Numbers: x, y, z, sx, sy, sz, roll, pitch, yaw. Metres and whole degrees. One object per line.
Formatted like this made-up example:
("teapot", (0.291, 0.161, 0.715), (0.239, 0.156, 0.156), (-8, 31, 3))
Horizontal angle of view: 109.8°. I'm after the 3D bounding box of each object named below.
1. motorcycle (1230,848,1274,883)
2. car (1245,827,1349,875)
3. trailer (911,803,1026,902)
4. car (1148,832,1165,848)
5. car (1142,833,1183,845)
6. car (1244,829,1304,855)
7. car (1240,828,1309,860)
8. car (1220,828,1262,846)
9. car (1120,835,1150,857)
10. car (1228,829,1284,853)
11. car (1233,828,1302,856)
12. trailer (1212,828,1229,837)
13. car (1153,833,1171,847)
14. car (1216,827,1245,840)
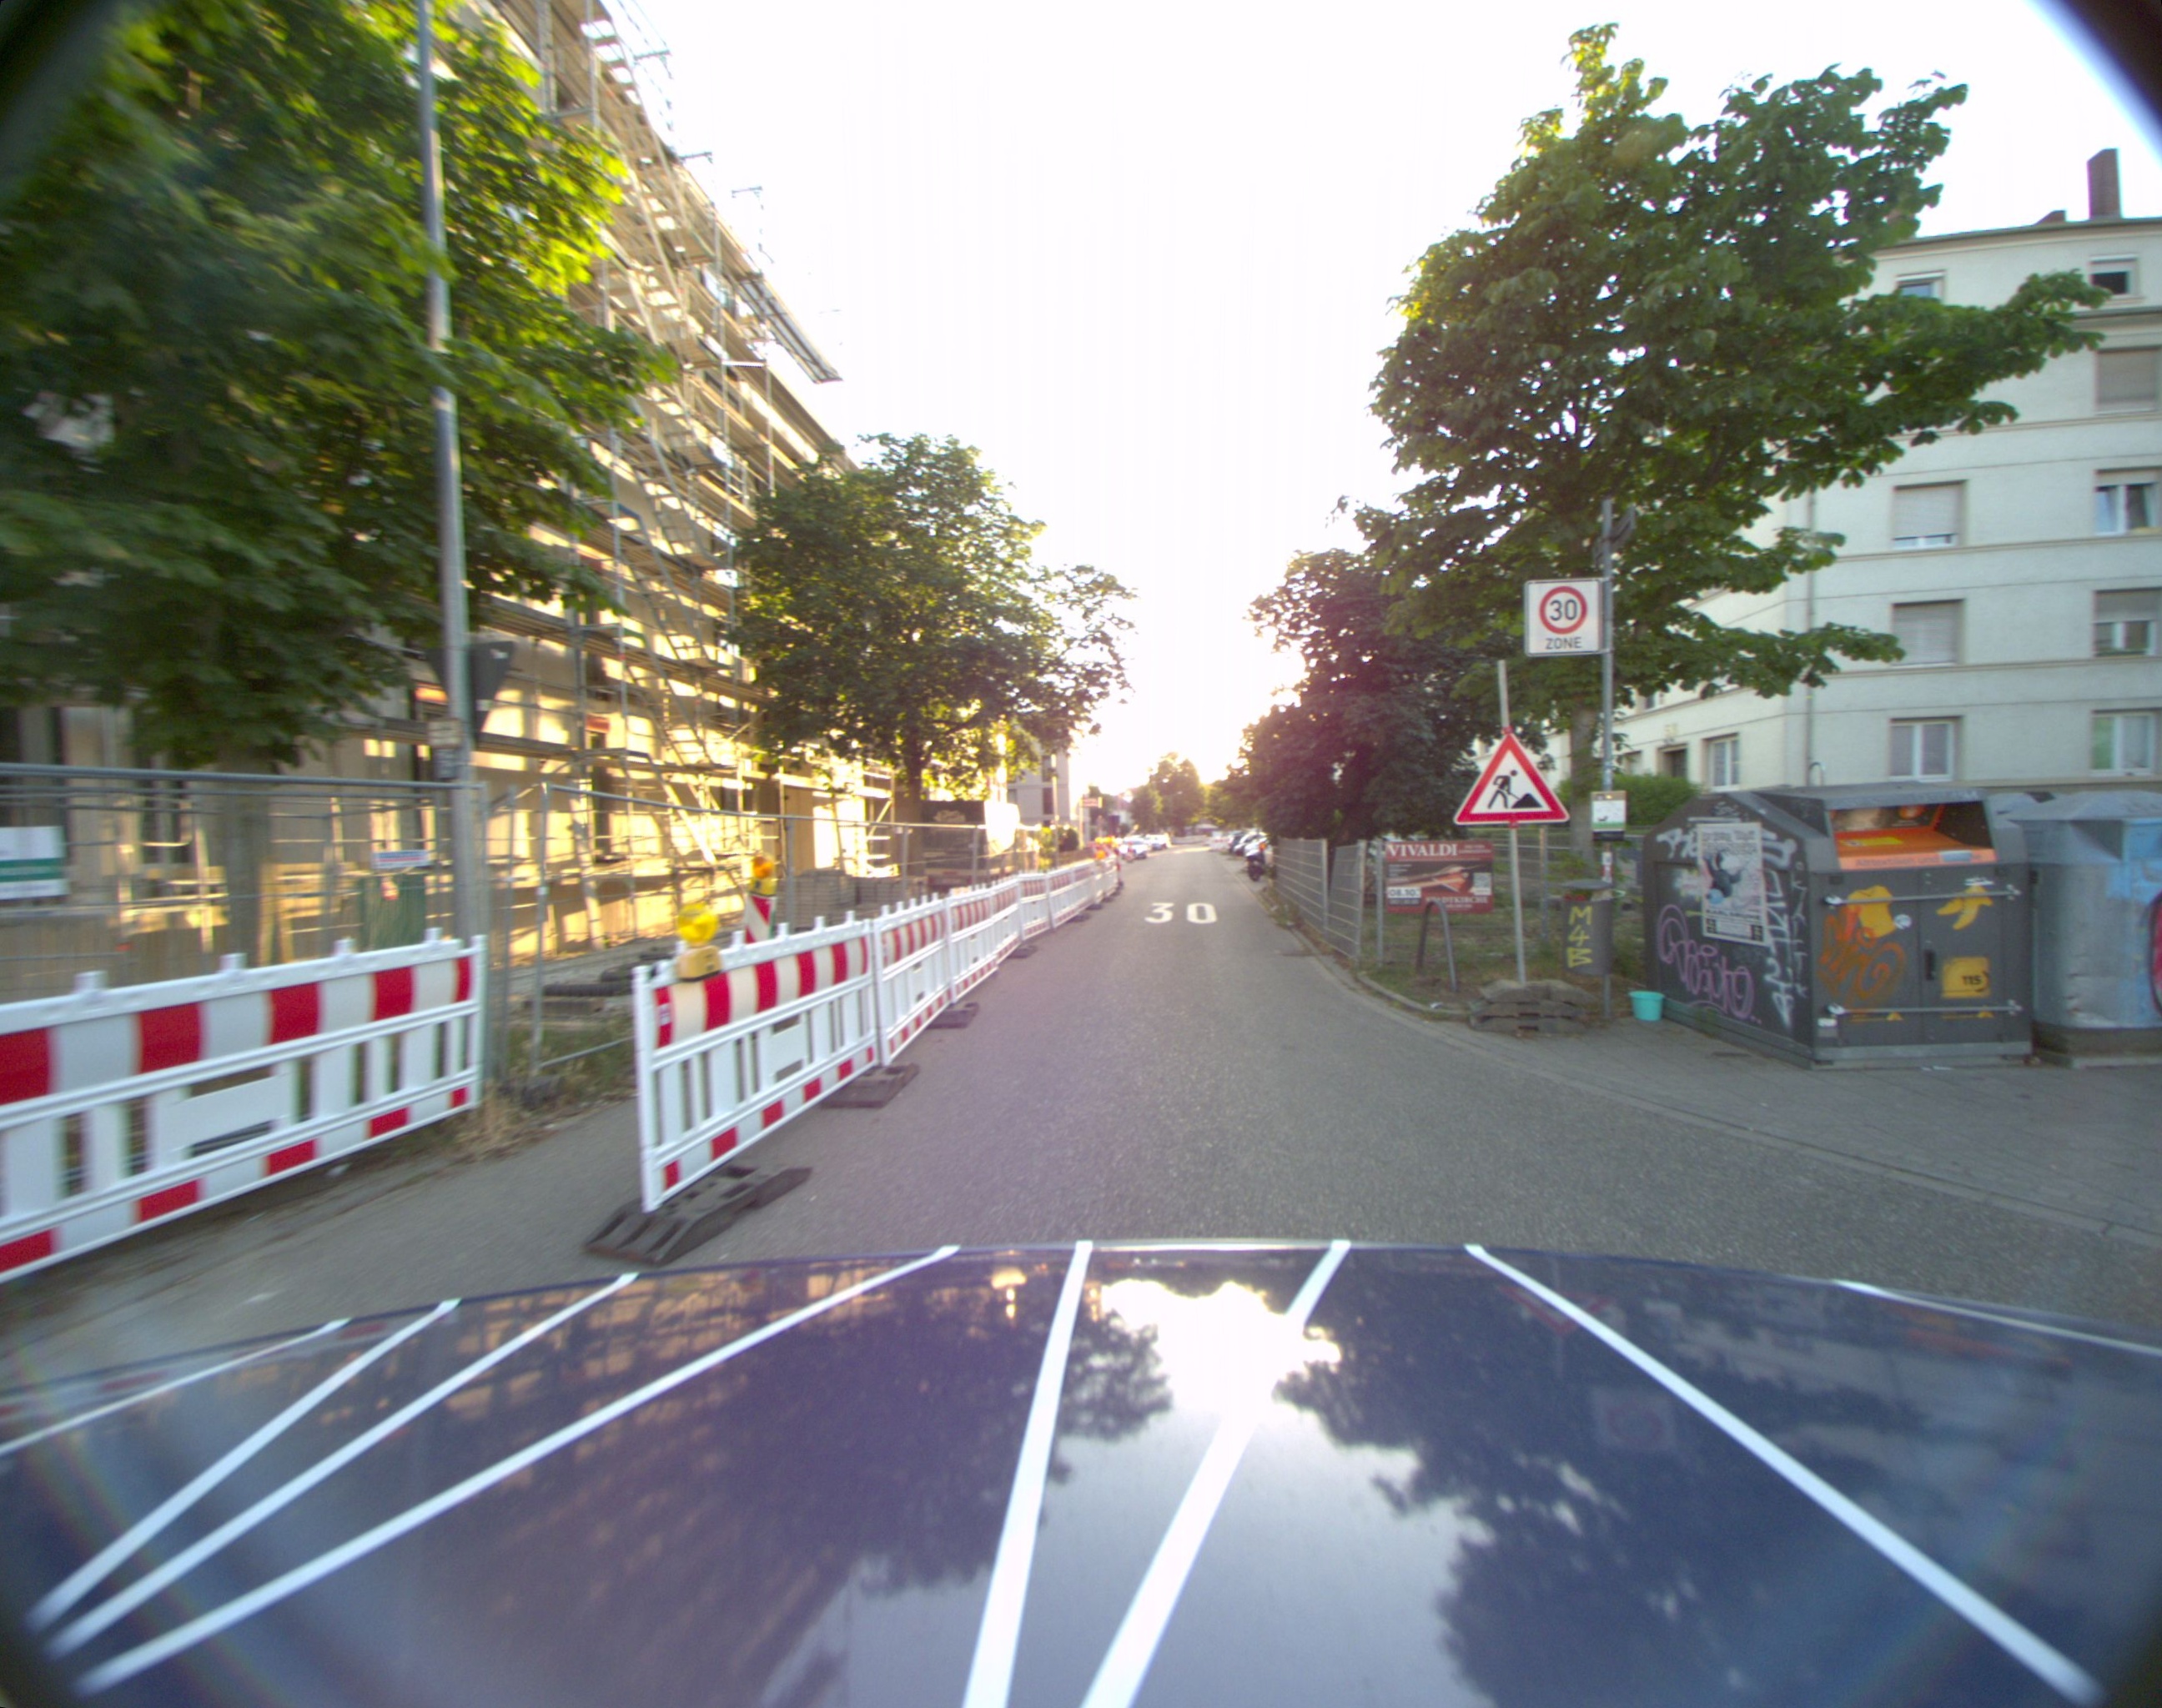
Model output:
("motorcycle", (5.914, 0.394, 26.138), (0.538, 1.015, 2.215), (-3, 2, 38))
("car", (8.311, -0.123, 29.496), (3.630, 1.548, 1.693), (-4, 2, 8))
("trailer", (-3.076, -0.072, 21.805), (1.997, 2.525, 4.188), (-1, 1, 9))
("car", (7.496, -1.432, 75.218), (1.618, 1.461, 3.997), (-2, 2, 6))
("car", (10.025, -1.863, 93.197), (4.827, 1.390, 1.771), (0, 1, 9))
("car", (12.635, -0.815, 49.977), (3.683, 1.476, 1.728), (-3, 3, 11))
("car", (10.947, -0.582, 43.230), (3.482, 1.557, 1.728), (-3, 3, 4))
("car", (15.119, -1.608, 71.869), (3.707, 1.476, 1.728), (-3, 1, 7))
("car", (3.769, -0.570, 52.649), (1.779, 1.389, 4.109), (-2, 2, 8))
("car", (12.102, -0.909, 52.867), (3.683, 1.437, 1.728), (-3, 3, 11))
("car", (11.472, -0.750, 46.997), (3.984, 1.481, 1.728), (-3, 3, 10))
("trailer", (35.232, -5.530, 191.802), (3.681, 2.057, 2.002), (-2, 2, 22))
("car", (9.166, -1.632, 85.837), (1.744, 1.461, 3.760), (-2, 2, 9))
("car", (25.562, -3.479, 130.072), (4.782, 2.058, 2.001), (-1, 2, 13))
